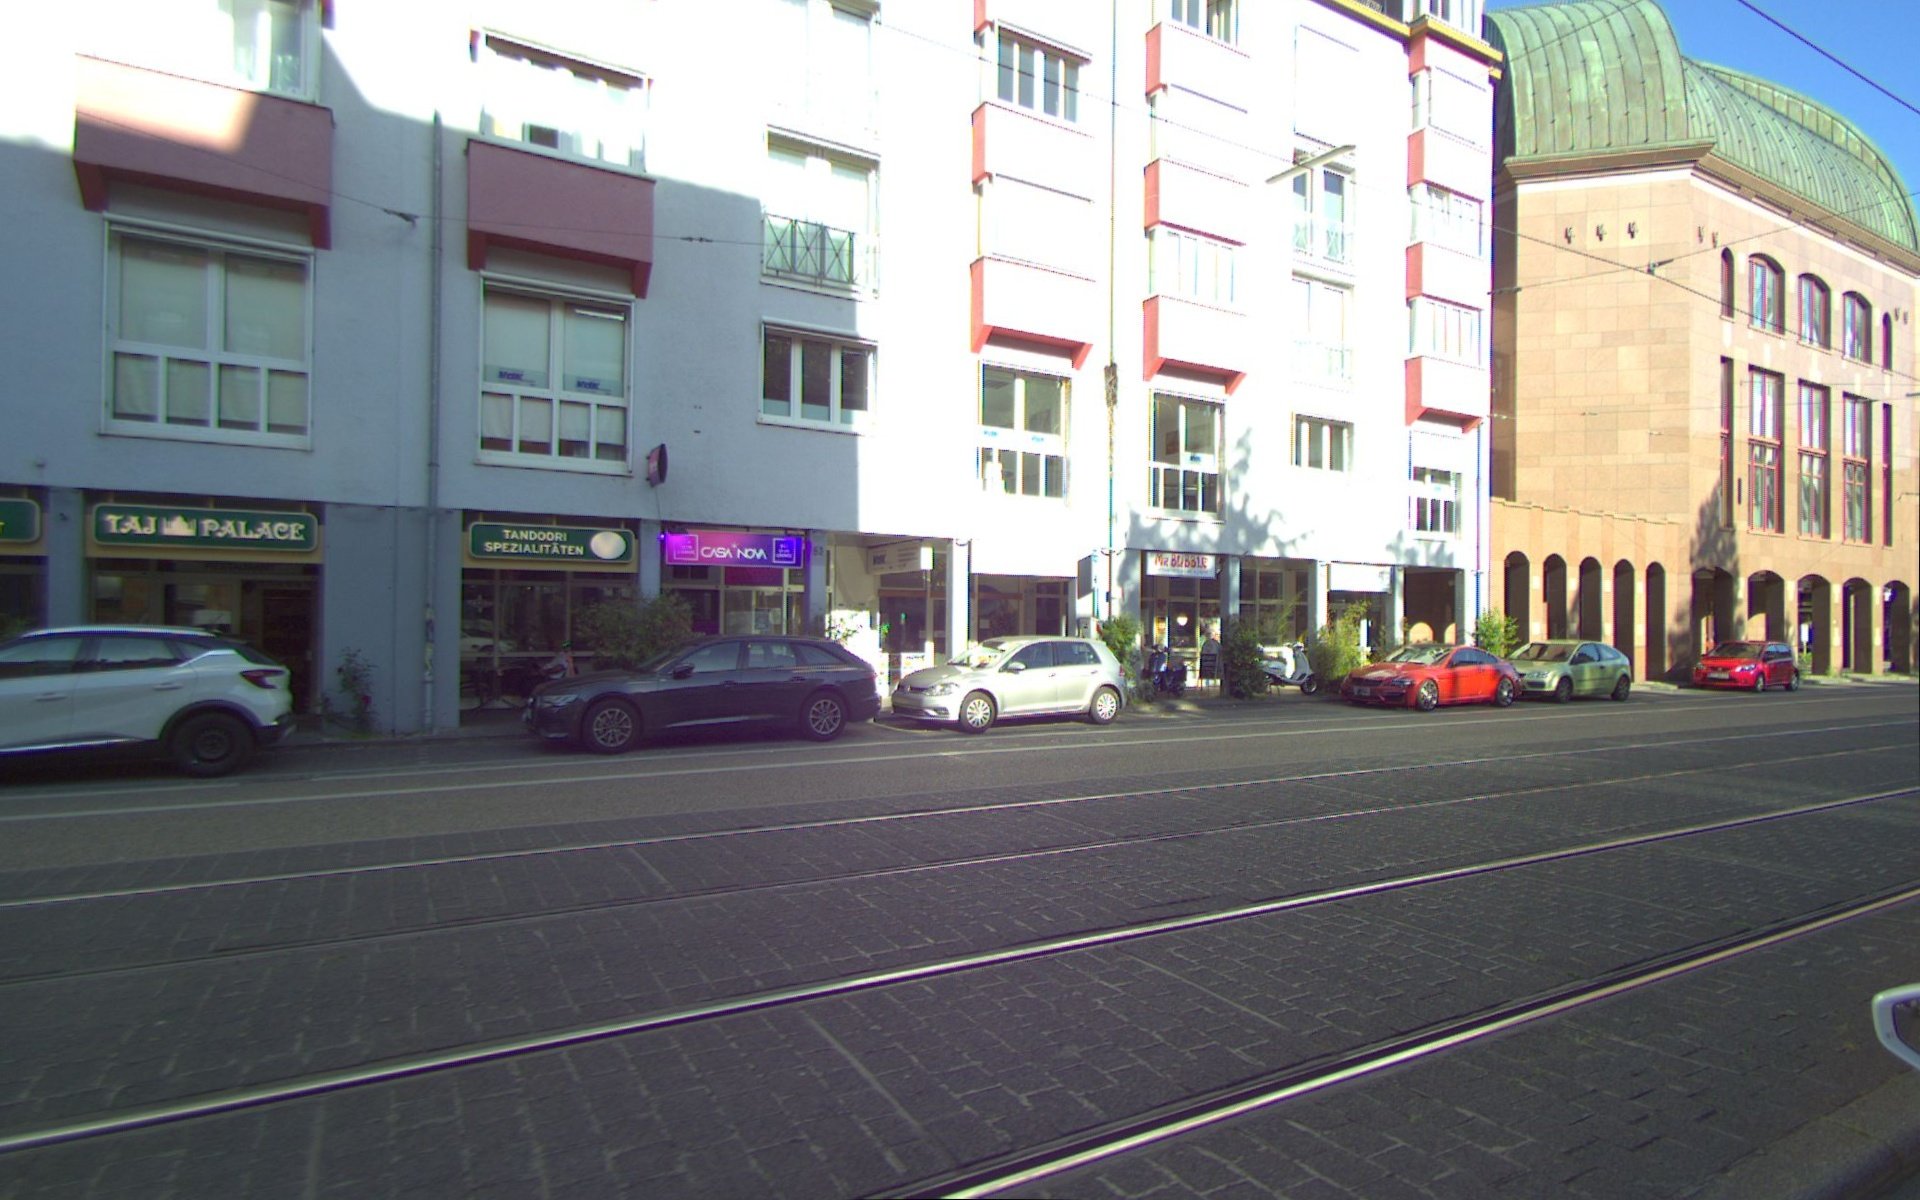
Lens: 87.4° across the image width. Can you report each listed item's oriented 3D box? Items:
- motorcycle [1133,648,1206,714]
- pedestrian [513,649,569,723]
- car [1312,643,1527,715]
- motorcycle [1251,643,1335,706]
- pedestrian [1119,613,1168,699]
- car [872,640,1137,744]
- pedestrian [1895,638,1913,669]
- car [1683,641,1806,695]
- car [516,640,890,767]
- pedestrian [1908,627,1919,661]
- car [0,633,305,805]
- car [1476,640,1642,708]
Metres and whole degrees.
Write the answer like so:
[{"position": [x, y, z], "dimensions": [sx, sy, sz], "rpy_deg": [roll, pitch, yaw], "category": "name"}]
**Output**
[{"position": [4.292, 1.628, 20.476], "dimensions": [0.455, 1.210, 2.070], "rpy_deg": [2, 1, 42], "category": "motorcycle"}, {"position": [-7.100, 1.431, 17.014], "dimensions": [0.771, 1.202, 0.668], "rpy_deg": [1, -2, -31], "category": "pedestrian"}, {"position": [10.139, 1.665, 22.090], "dimensions": [4.765, 1.343, 1.950], "rpy_deg": [1, 0, -31], "category": "car"}, {"position": [7.369, 1.624, 22.178], "dimensions": [2.058, 1.315, 0.516], "rpy_deg": [1, 1, -31], "category": "motorcycle"}, {"position": [4.120, 1.235, 22.562], "dimensions": [0.711, 1.867, 0.813], "rpy_deg": [0, 1, -39], "category": "pedestrian"}, {"position": [0.793, 1.428, 16.652], "dimensions": [4.162, 1.494, 1.741], "rpy_deg": [1, -1, -33], "category": "car"}, {"position": [59.730, 3.375, 63.551], "dimensions": [0.666, 1.871, 0.623], "rpy_deg": [1, 1, -32], "category": "pedestrian"}, {"position": [23.319, 1.972, 29.850], "dimensions": [3.577, 1.441, 1.651], "rpy_deg": [1, 0, -30], "category": "car"}, {"position": [-3.543, 1.328, 14.143], "dimensions": [4.770, 1.477, 1.892], "rpy_deg": [1, -1, -31], "category": "car"}, {"position": [54.513, 2.515, 57.237], "dimensions": [0.533, 1.897, 0.586], "rpy_deg": [1, 1, -38], "category": "pedestrian"}, {"position": [-9.593, 1.184, 10.678], "dimensions": [4.322, 1.635, 1.907], "rpy_deg": [1, -1, -33], "category": "car"}, {"position": [14.754, 1.763, 24.687], "dimensions": [4.239, 1.488, 1.661], "rpy_deg": [1, 0, -30], "category": "car"}]
